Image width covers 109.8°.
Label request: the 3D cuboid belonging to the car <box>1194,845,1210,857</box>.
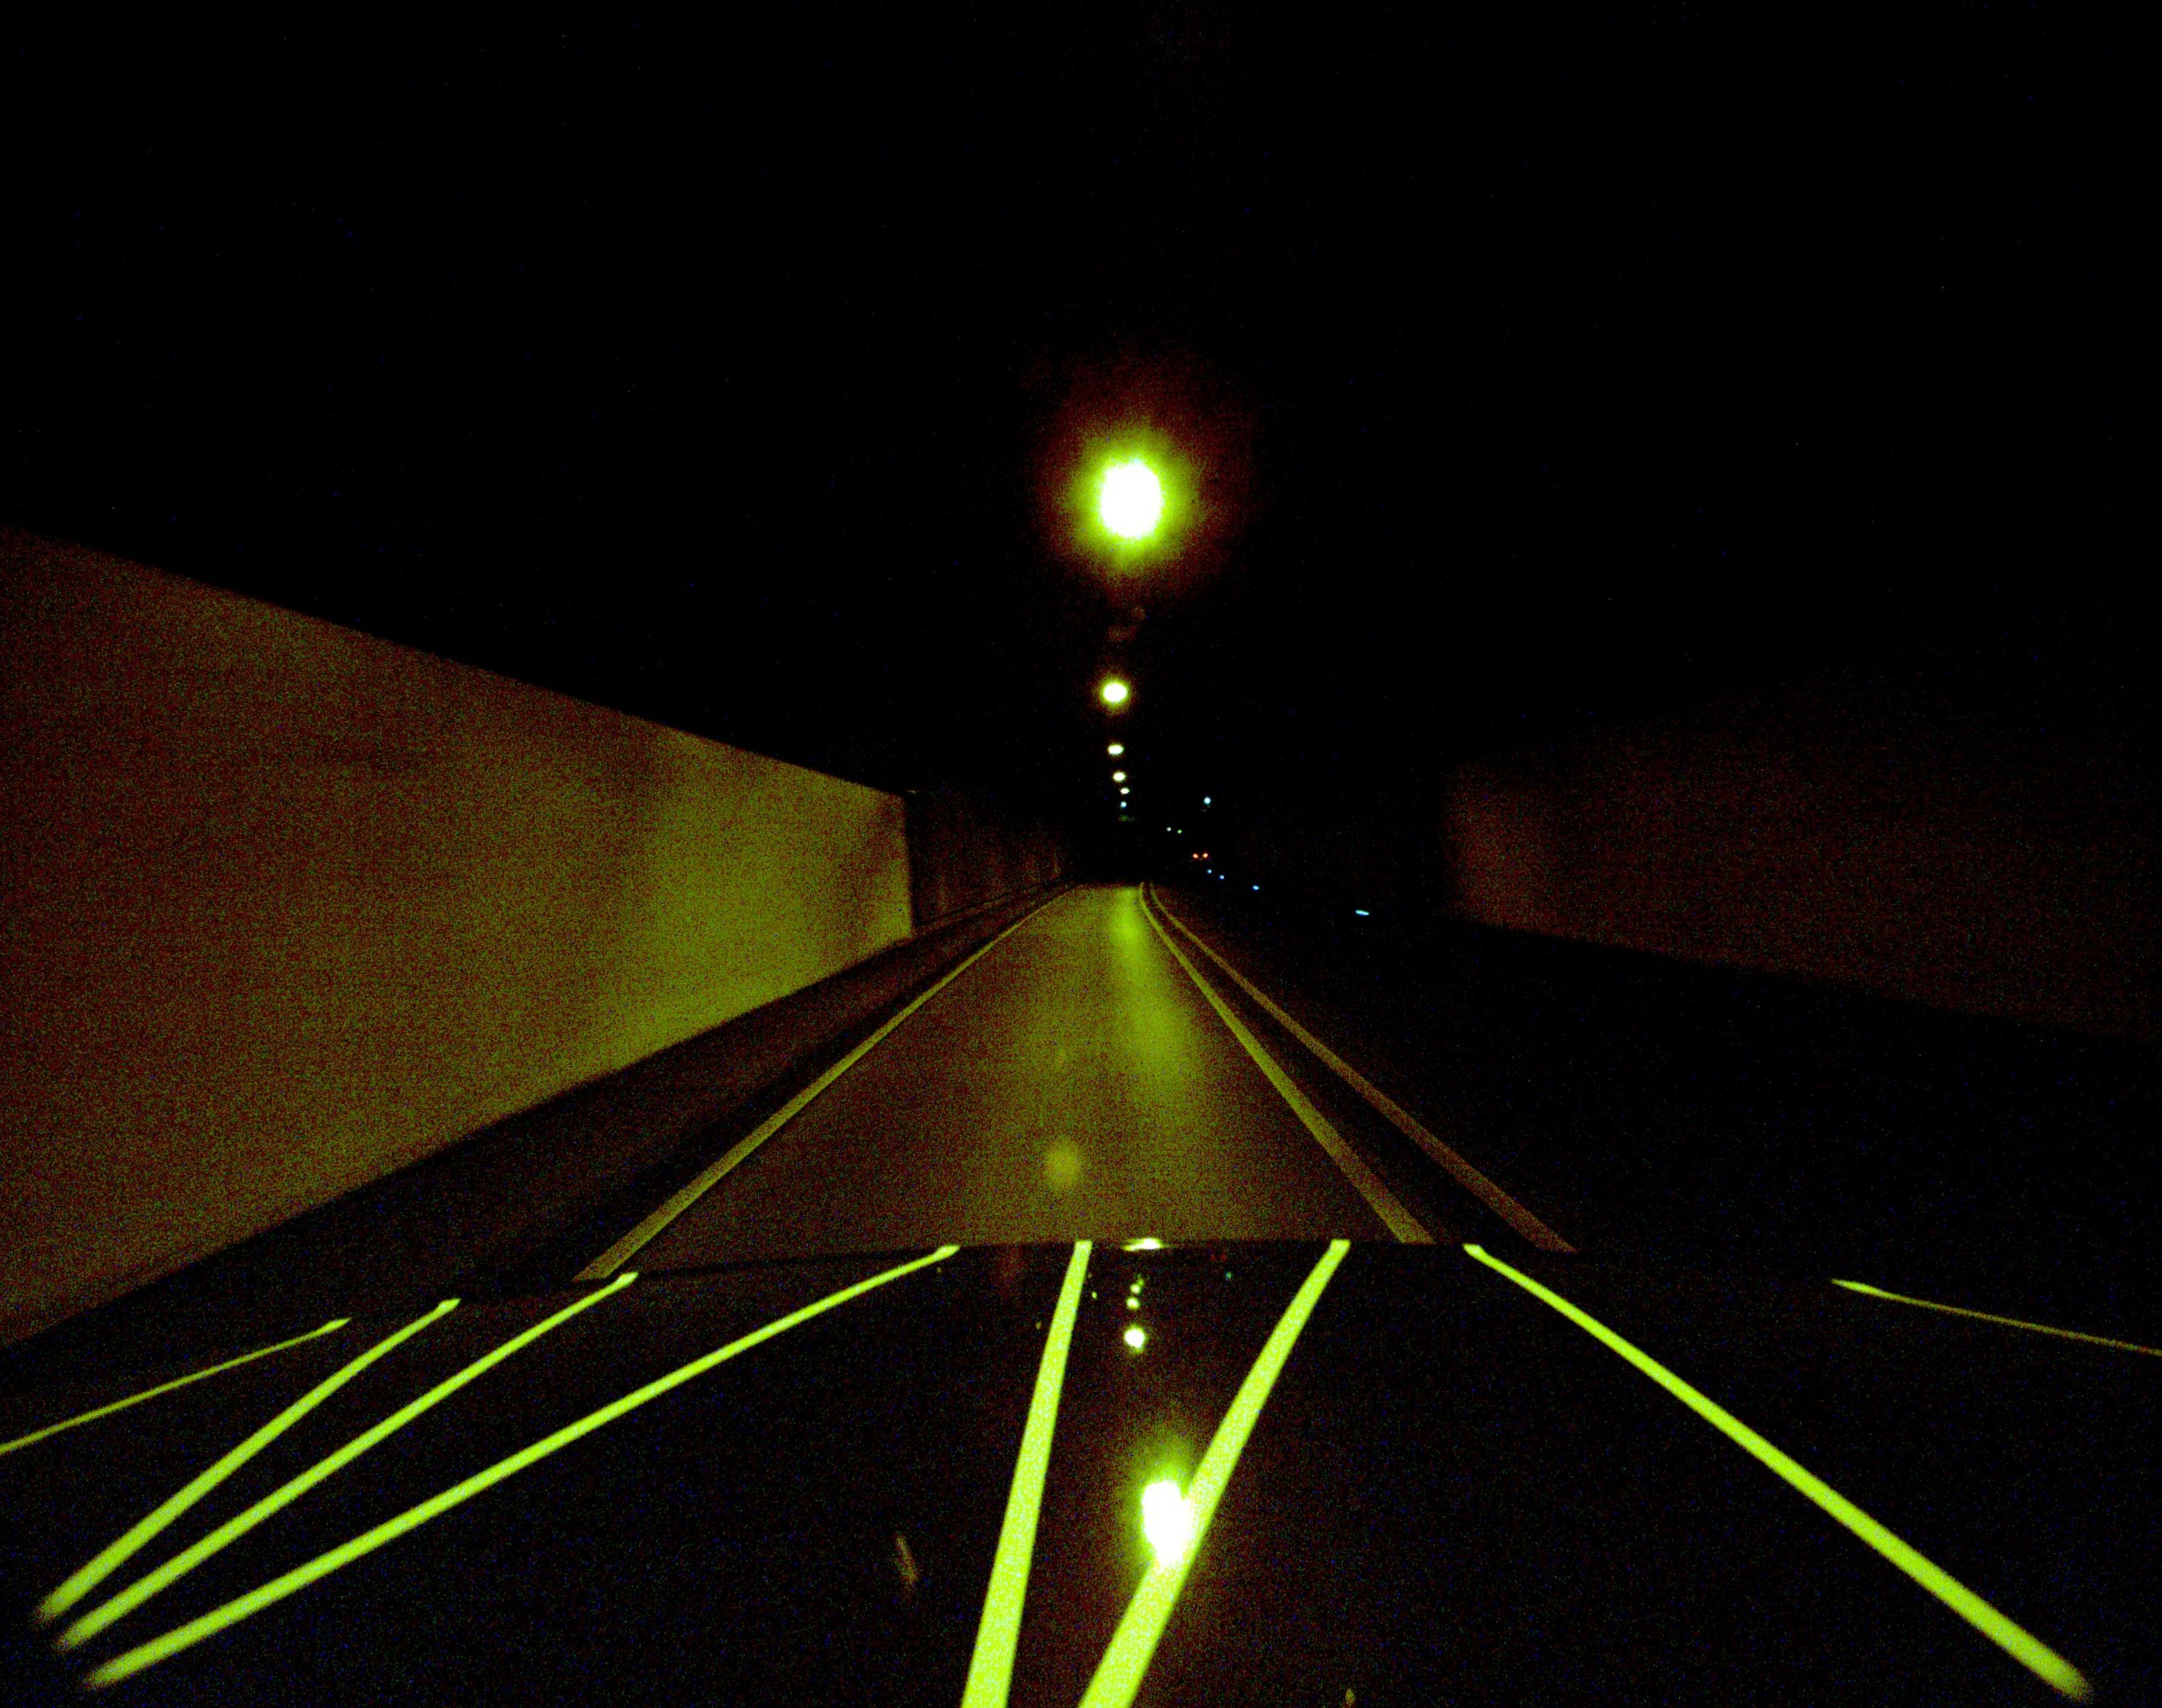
[{"bbox_3d":[16.094,-0.449,100.916,1.719,1.434,4.397,-4,0,12],"label":"car"}]
